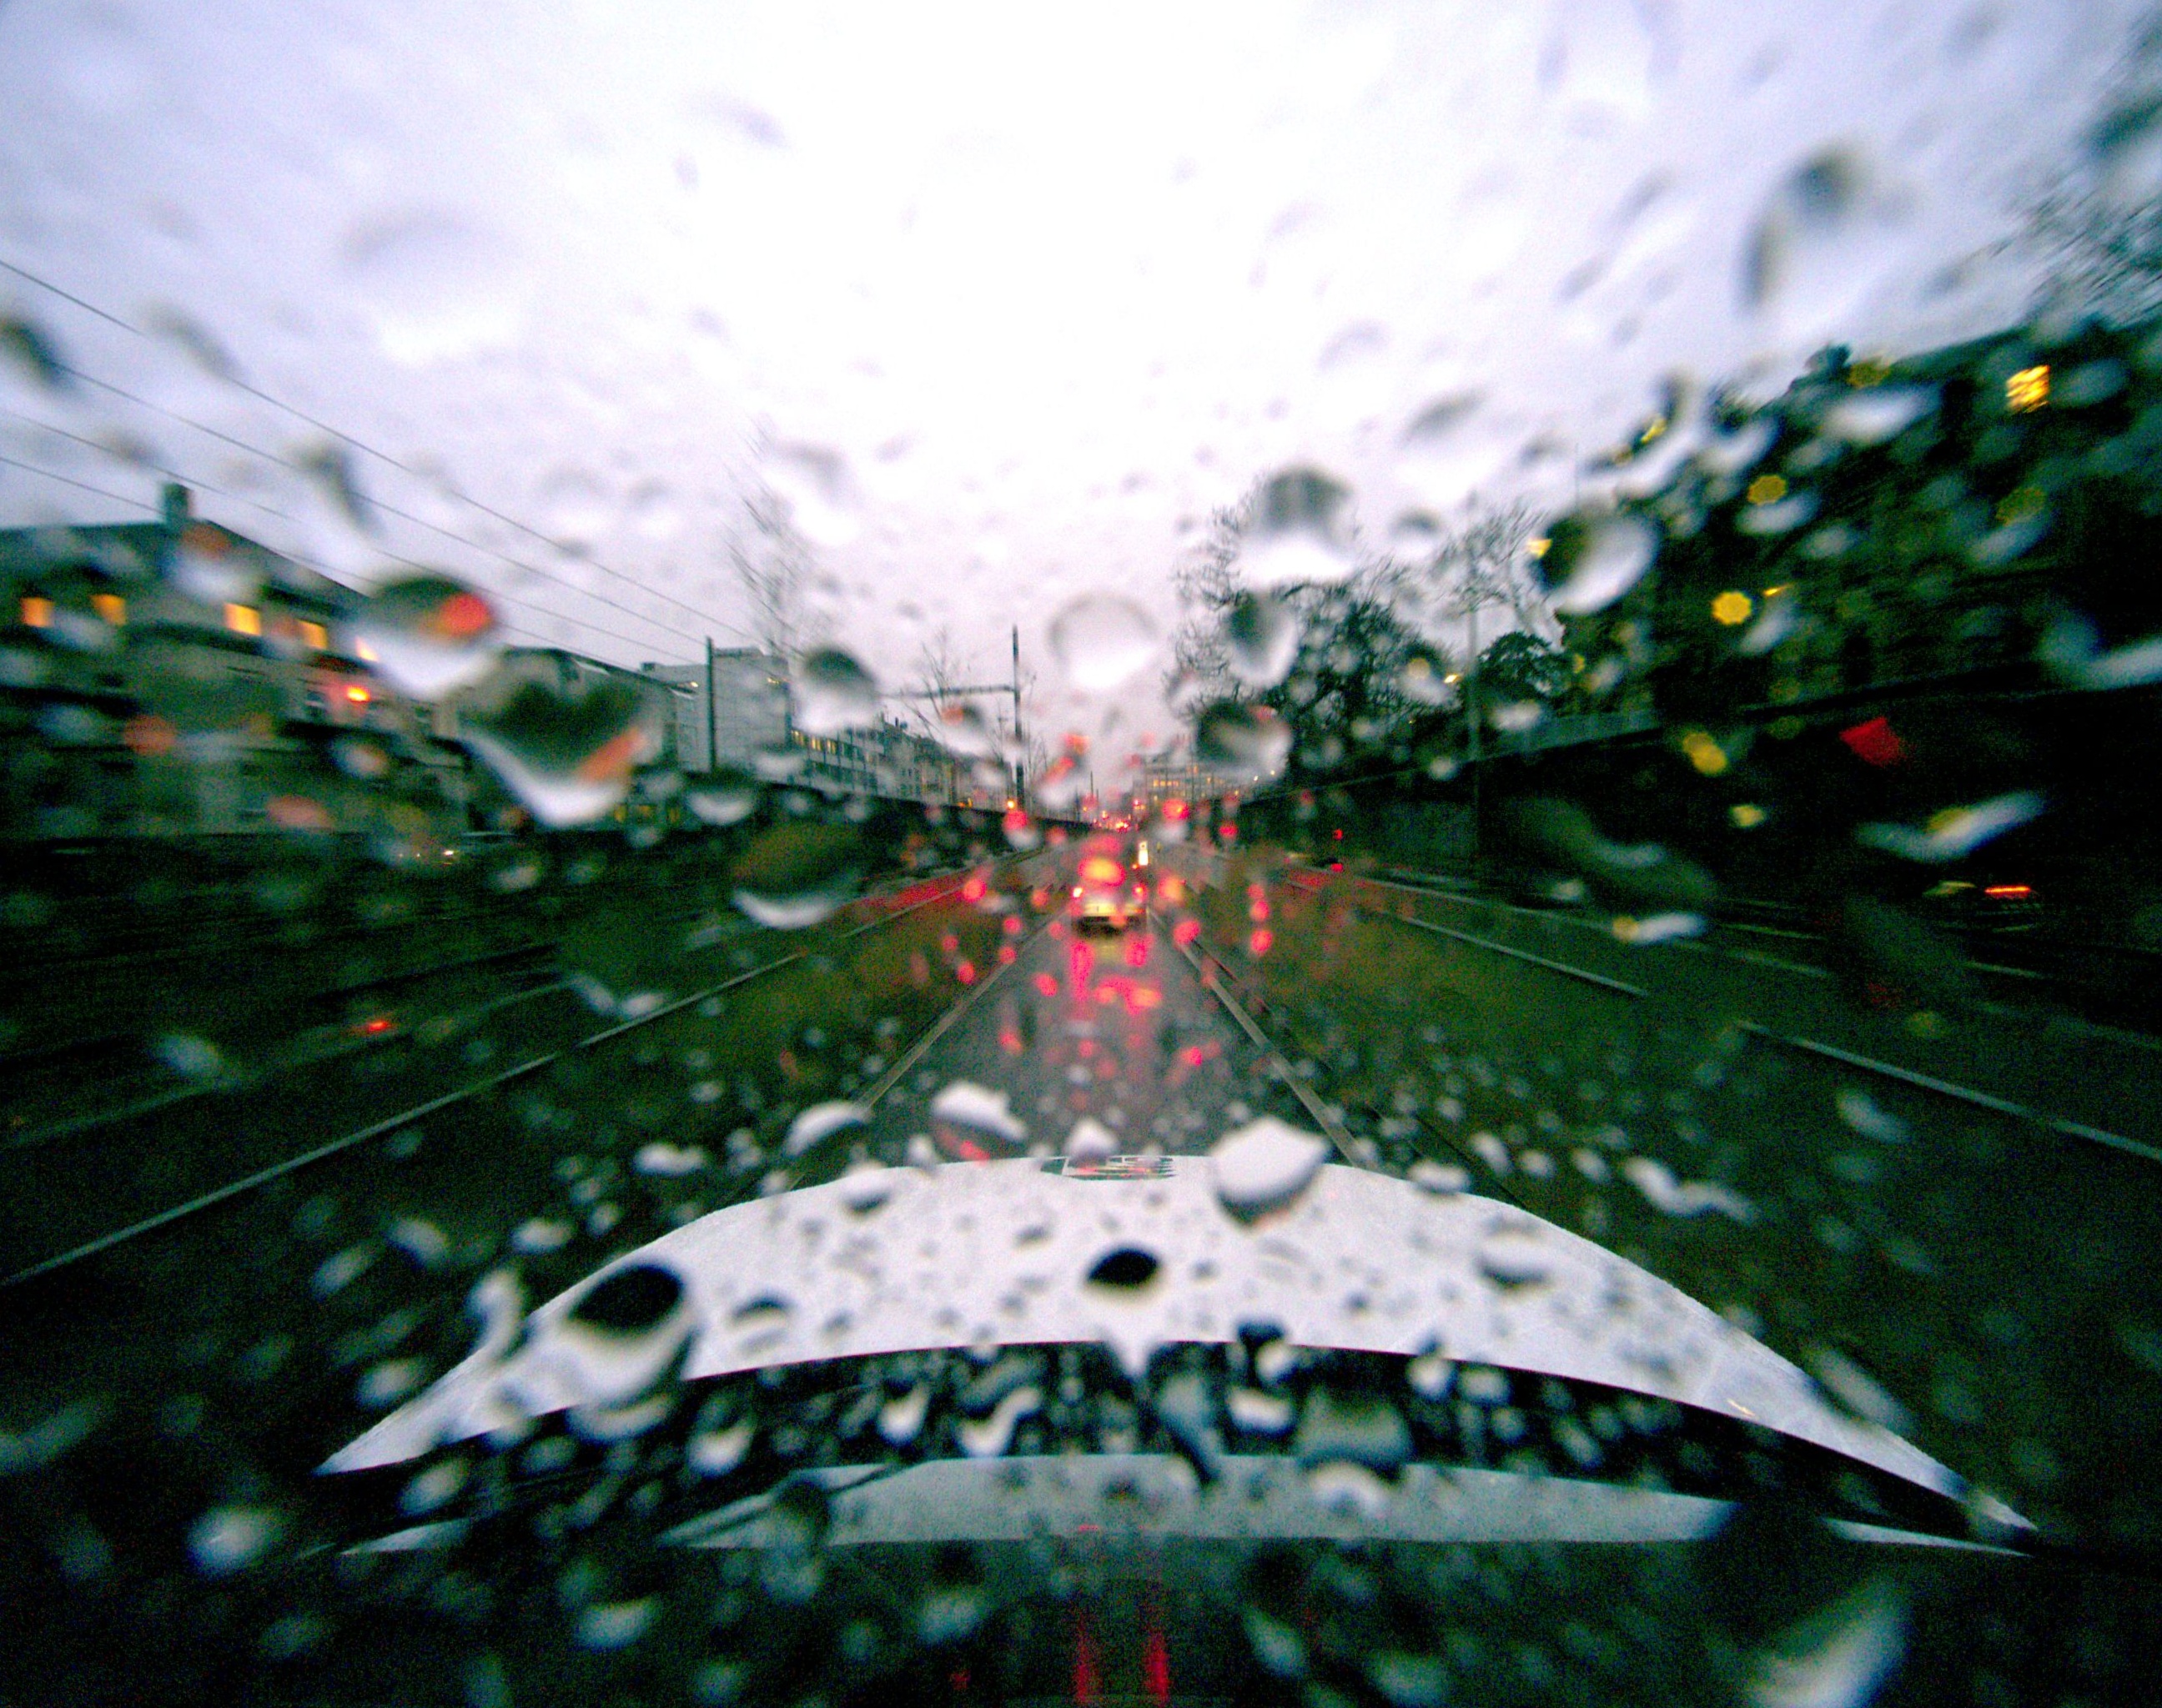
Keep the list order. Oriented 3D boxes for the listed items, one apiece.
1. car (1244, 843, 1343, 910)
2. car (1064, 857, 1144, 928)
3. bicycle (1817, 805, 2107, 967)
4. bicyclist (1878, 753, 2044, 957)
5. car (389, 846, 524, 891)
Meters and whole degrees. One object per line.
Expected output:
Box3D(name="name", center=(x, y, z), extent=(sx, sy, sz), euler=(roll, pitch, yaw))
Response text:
Box3D(name="car", center=(5.238, 0.476, 20.555), extent=(1.714, 1.479, 4.005), euler=(0, 1, 4))
Box3D(name="car", center=(0.639, 0.844, 19.524), extent=(1.714, 1.479, 4.005), euler=(0, 0, 4))
Box3D(name="bicycle", center=(7.375, 0.203, 6.982), extent=(0.410, 1.185, 1.949), euler=(-2, 2, 1))
Box3D(name="bicyclist", center=(7.348, -0.003, 6.838), extent=(0.498, 1.591, 0.837), euler=(-2, 2, 1))
Box3D(name="car", center=(-25.924, 0.534, 34.063), extent=(1.985, 1.631, 4.435), euler=(-1, 2, 3))
